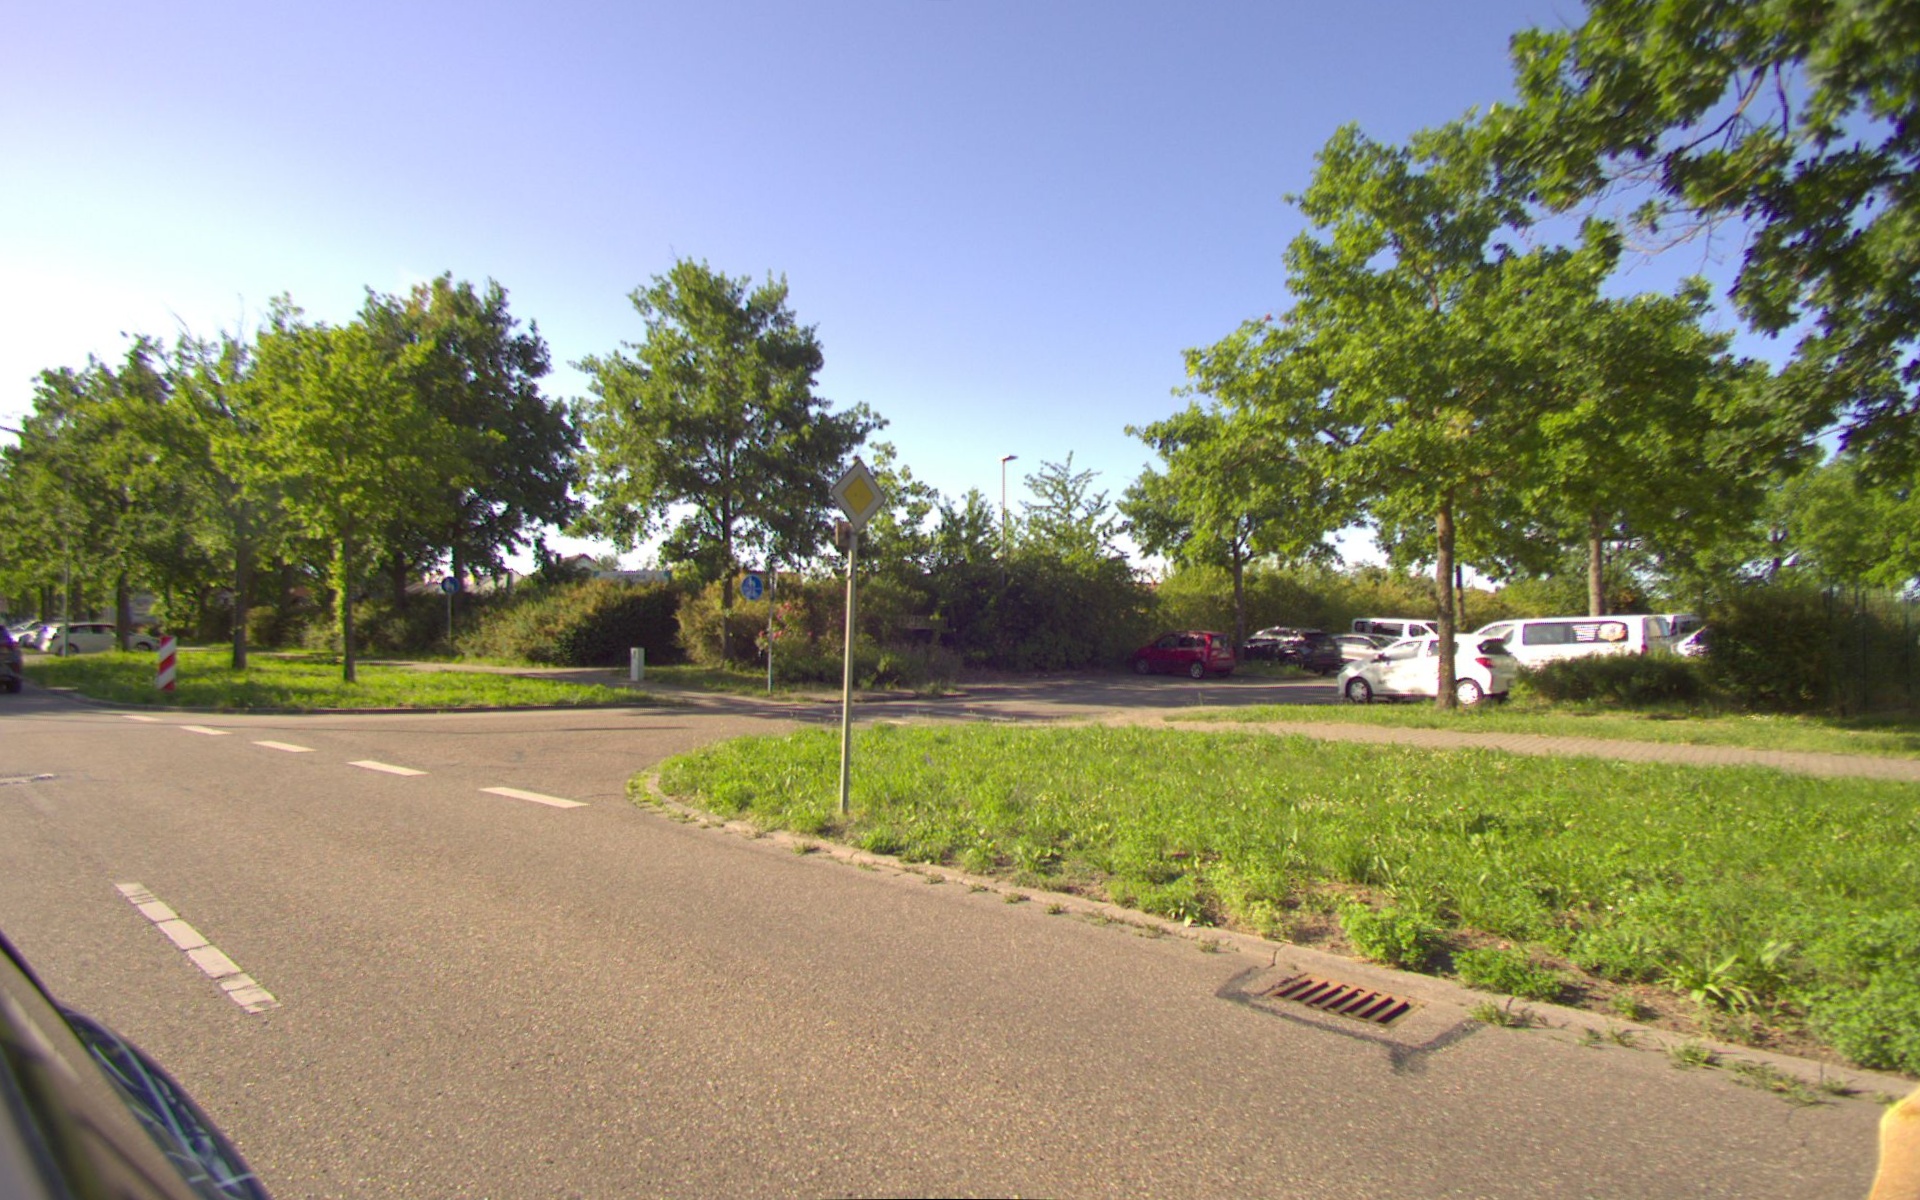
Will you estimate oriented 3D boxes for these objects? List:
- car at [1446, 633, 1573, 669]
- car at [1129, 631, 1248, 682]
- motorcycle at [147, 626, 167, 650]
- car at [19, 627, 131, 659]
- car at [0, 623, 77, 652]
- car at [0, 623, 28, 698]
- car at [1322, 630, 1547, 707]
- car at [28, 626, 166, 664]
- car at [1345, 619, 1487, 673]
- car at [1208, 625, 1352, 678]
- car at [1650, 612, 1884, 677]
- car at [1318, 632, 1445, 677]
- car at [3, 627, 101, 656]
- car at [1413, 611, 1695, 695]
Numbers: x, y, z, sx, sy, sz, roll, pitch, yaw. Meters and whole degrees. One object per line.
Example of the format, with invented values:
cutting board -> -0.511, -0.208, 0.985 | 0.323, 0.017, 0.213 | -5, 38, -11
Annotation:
car -> 25.760, 2.357, 47.592 | 1.966, 1.581, 4.896 | 1, -2, -33
car -> 7.601, 1.845, 33.882 | 1.776, 1.516, 3.560 | 2, -1, -37
motorcycle -> -51.401, 2.420, 64.747 | 1.992, 1.443, 0.729 | -2, 1, 44
car -> -47.430, 2.284, 54.304 | 2.088, 1.522, 4.364 | -2, -1, 43
car -> -65.802, 2.655, 72.105 | 1.999, 1.898, 4.181 | -2, -1, 43
car -> -22.055, 1.290, 22.125 | 4.490, 1.548, 1.786 | -2, -4, 39
car -> 10.218, 1.493, 22.033 | 1.967, 1.516, 3.925 | 2, -5, -37
car -> -39.827, 2.060, 46.772 | 2.189, 1.570, 4.580 | -2, -1, 39
car -> 18.148, 1.823, 40.537 | 1.966, 2.029, 4.896 | 1, -2, -33
car -> 11.601, 1.845, 37.081 | 1.966, 1.798, 4.896 | 1, -2, -33
car -> 26.455, 1.535, 33.403 | 2.332, 1.943, 5.530 | 2, -5, -37
car -> 16.021, 2.038, 38.610 | 1.969, 1.625, 4.007 | 2, -3, -41
car -> -54.961, 2.479, 61.309 | 4.362, 1.568, 2.089 | 0, -1, -45
car -> 14.356, 1.358, 24.835 | 2.270, 1.831, 5.452 | 2, -5, -37
